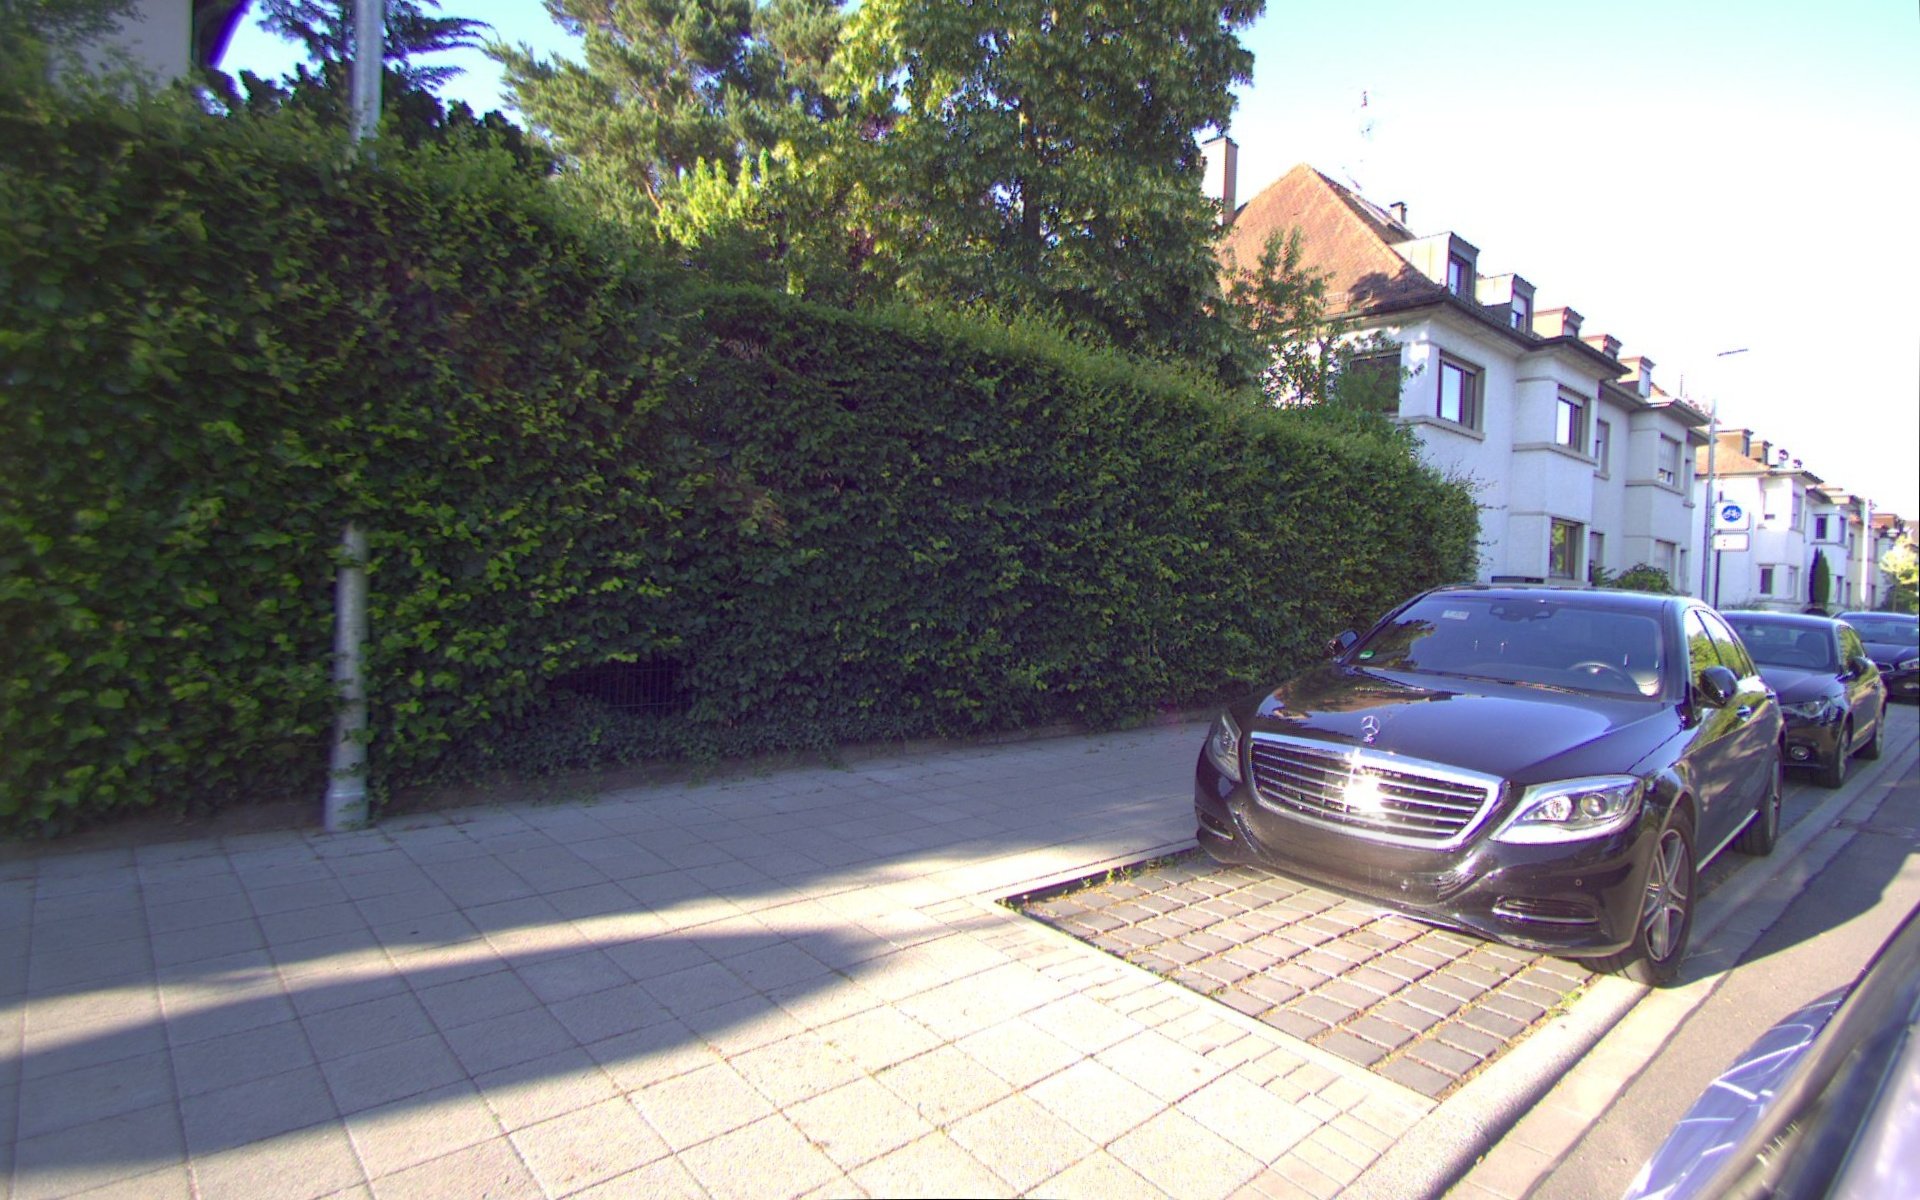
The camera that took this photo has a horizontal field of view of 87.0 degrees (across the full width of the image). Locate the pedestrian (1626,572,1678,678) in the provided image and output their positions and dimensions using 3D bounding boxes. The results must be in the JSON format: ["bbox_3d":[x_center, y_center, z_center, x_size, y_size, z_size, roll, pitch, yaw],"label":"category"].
[{"bbox_3d":[12.511,0.438,18.294,0.809,1.869,0.587,0,0,-41],"label":"pedestrian"}]

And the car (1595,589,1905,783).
[{"bbox_3d":[7.762,0.683,9.809,3.932,1.496,1.781,1,-1,-43],"label":"car"}]

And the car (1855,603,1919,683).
[{"bbox_3d":[19.993,0.875,21.005,3.410,1.554,1.679,1,-1,-41],"label":"car"}]

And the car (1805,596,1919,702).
[{"bbox_3d":[15.853,0.789,17.222,4.007,1.616,1.793,1,-1,-43],"label":"car"}]

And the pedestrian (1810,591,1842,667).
[{"bbox_3d":[21.256,0.703,24.838,0.579,1.821,0.530,1,-1,-44],"label":"pedestrian"}]

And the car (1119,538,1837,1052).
[{"bbox_3d":[3.129,0.555,5.438,4.835,1.517,2.005,1,2,-45],"label":"car"}]
